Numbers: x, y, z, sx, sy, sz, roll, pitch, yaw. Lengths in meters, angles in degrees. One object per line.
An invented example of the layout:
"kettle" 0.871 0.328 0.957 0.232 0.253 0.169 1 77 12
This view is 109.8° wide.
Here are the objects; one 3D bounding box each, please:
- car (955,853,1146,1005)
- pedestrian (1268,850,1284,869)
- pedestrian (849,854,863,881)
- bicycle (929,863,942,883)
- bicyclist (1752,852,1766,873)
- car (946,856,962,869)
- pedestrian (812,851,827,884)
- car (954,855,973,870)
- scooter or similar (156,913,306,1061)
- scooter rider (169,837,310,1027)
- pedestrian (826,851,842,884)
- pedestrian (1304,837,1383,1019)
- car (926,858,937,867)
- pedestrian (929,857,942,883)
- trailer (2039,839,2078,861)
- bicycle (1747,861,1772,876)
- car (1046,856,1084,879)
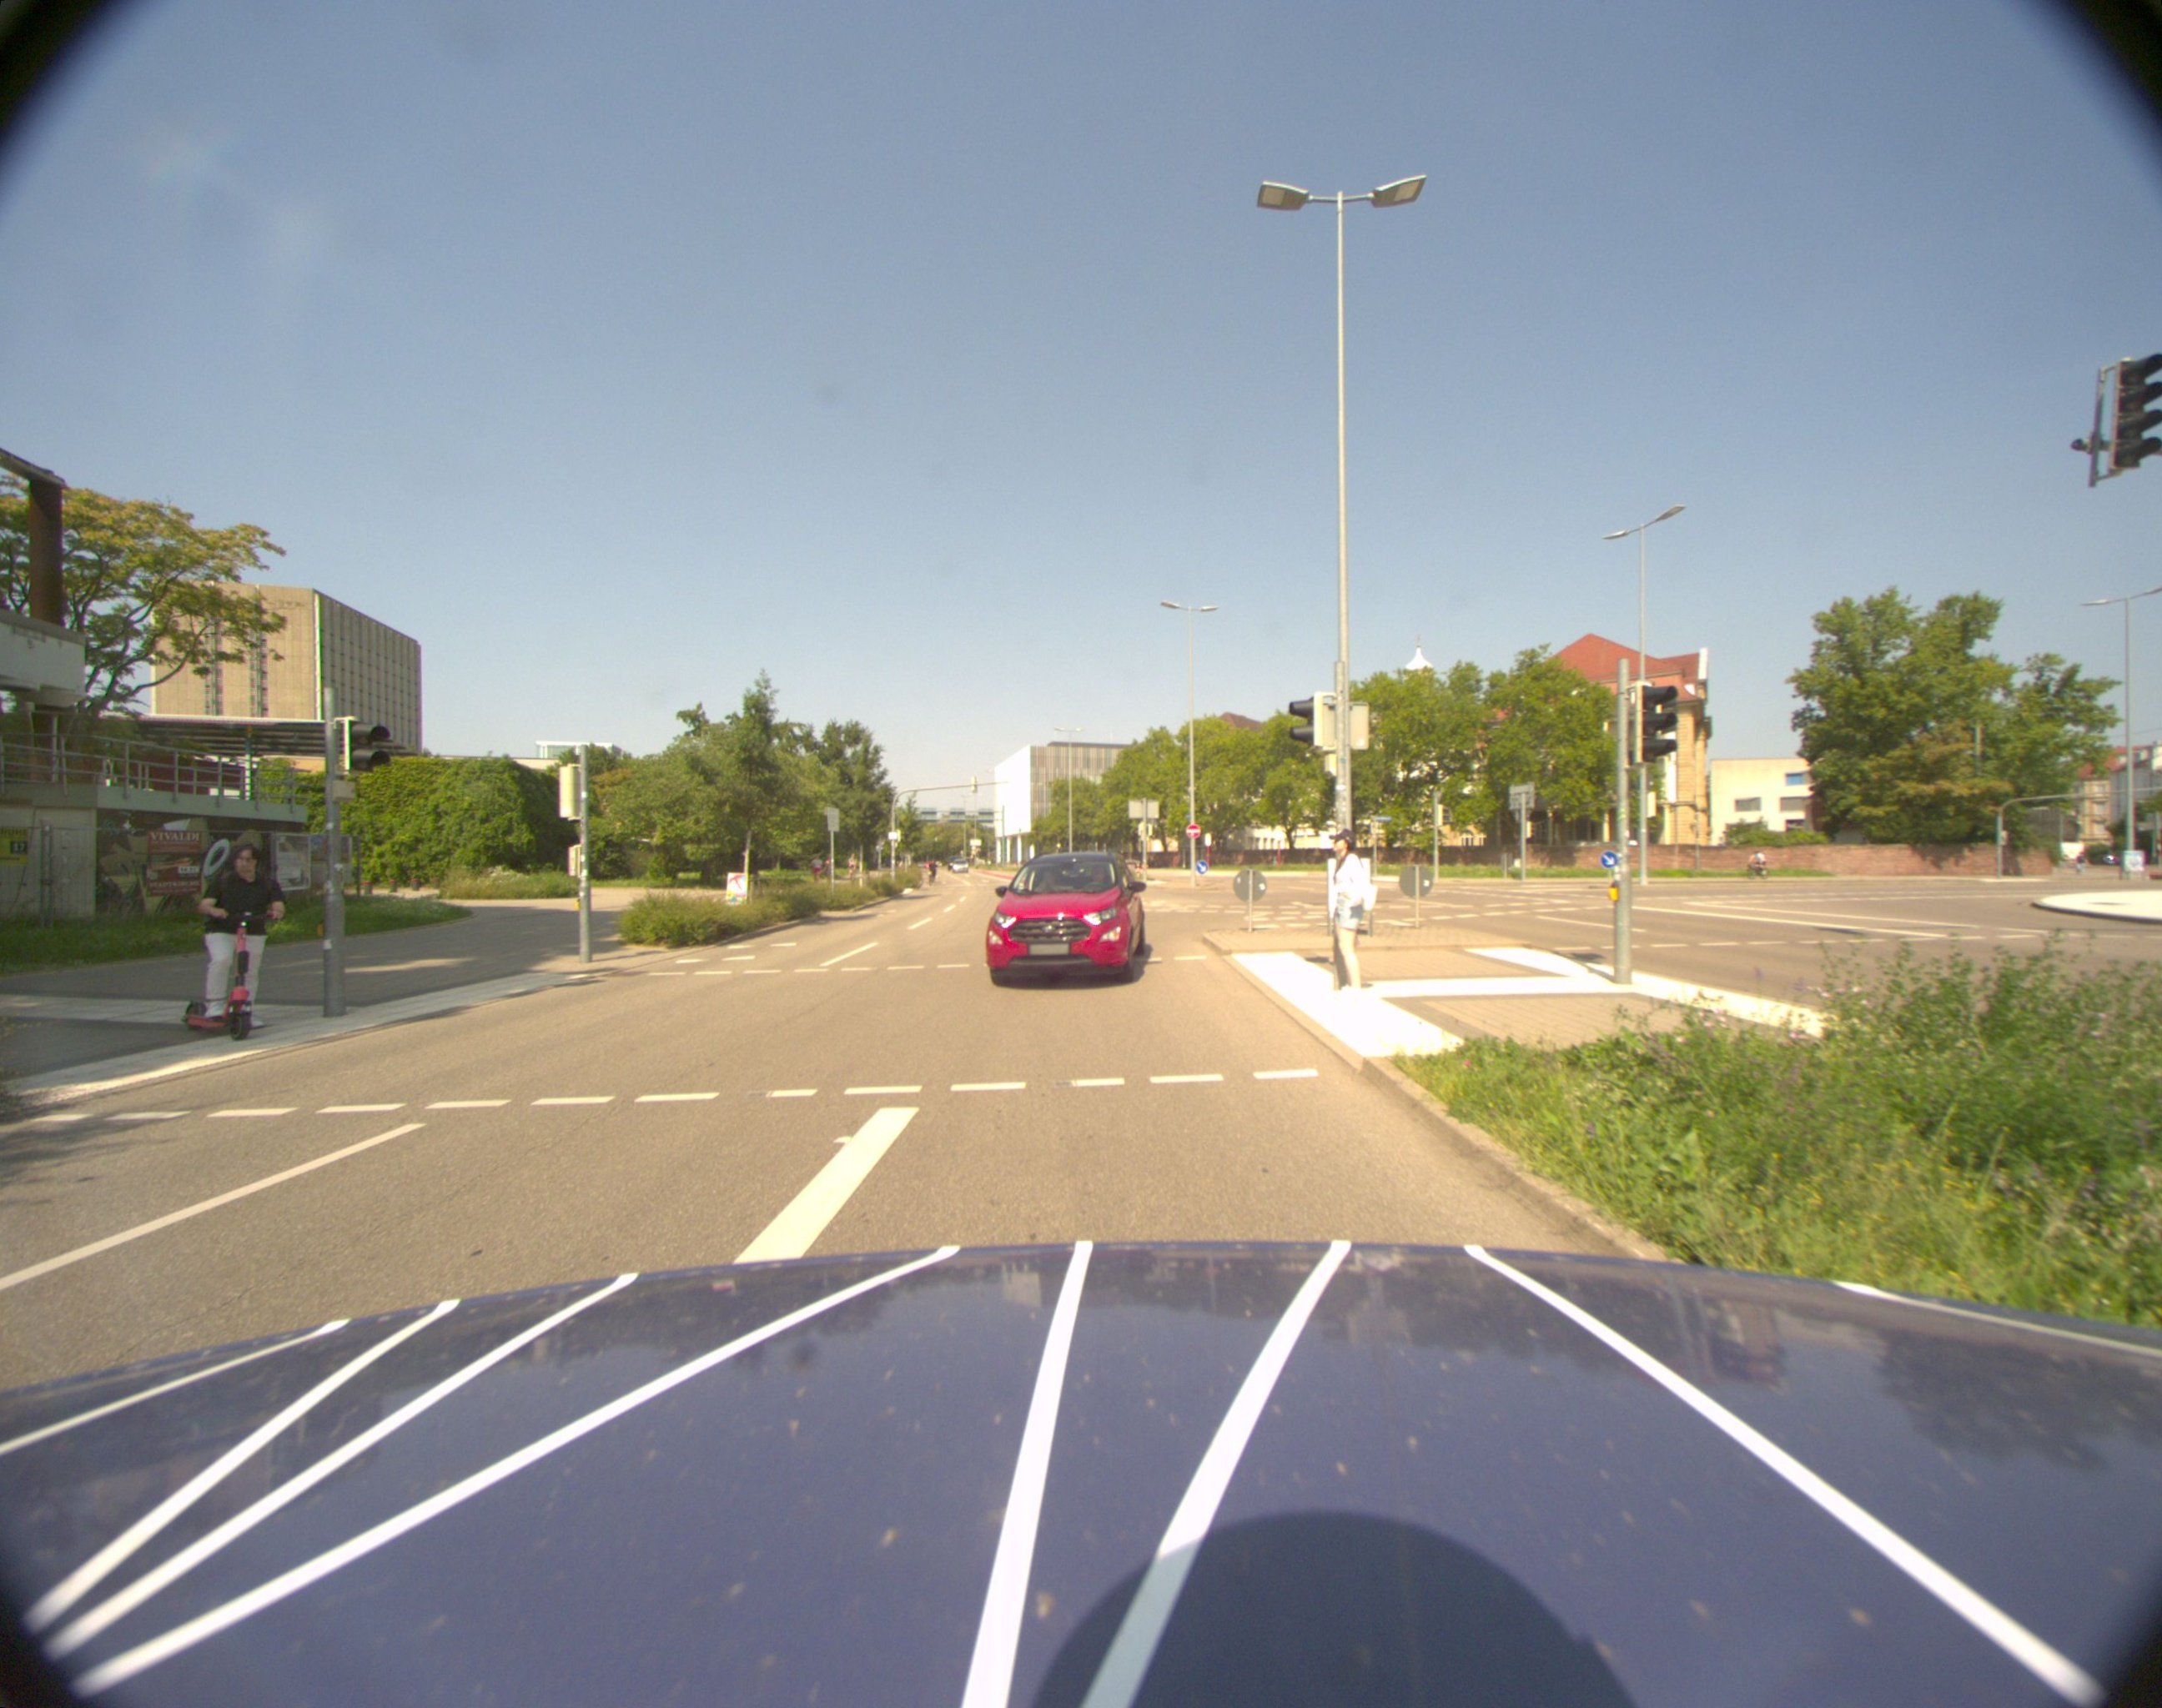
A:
"car" -0.176 0.839 10.345 1.843 1.605 4.002 -2 0 8
"pedestrian" 20.725 0.588 80.715 1.074 2.002 1.231 0 1 -35
"pedestrian" -14.920 0.911 50.305 0.794 1.758 0.825 0 1 -11
"bicycle" -9.120 1.180 47.750 0.786 1.205 1.787 0 0 -11
"bicyclist" 40.193 0.483 45.043 0.541 1.226 0.432 0 1 -18
"car" -17.797 1.117 106.177 2.001 1.769 3.996 -1 0 -12
"pedestrian" -13.809 0.703 40.128 0.694 1.761 0.587 0 1 -11
"car" -13.779 1.009 89.042 2.001 1.669 3.996 -1 0 -12
"scooter or similar" -8.231 1.234 7.355 1.364 1.227 0.586 1 1 25
"scooter rider" -8.154 0.706 7.376 0.803 1.729 0.690 1 1 25
"pedestrian" -13.124 0.704 40.367 0.694 1.761 0.587 0 1 -11
"pedestrian" 2.575 0.685 7.431 0.698 1.685 0.608 0 1 21
"car" -28.703 1.657 146.058 2.001 1.769 3.996 -1 0 -12
"pedestrian" -9.108 0.991 47.666 0.781 1.659 0.548 0 1 -11
"trailer" 147.903 -0.544 114.994 2.435 3.269 5.100 0 1 38
"bicycle" 40.242 0.854 45.066 1.487 0.807 0.437 -1 1 -18
"car" -1.080 0.818 49.142 1.792 1.349 3.420 -2 1 -12
